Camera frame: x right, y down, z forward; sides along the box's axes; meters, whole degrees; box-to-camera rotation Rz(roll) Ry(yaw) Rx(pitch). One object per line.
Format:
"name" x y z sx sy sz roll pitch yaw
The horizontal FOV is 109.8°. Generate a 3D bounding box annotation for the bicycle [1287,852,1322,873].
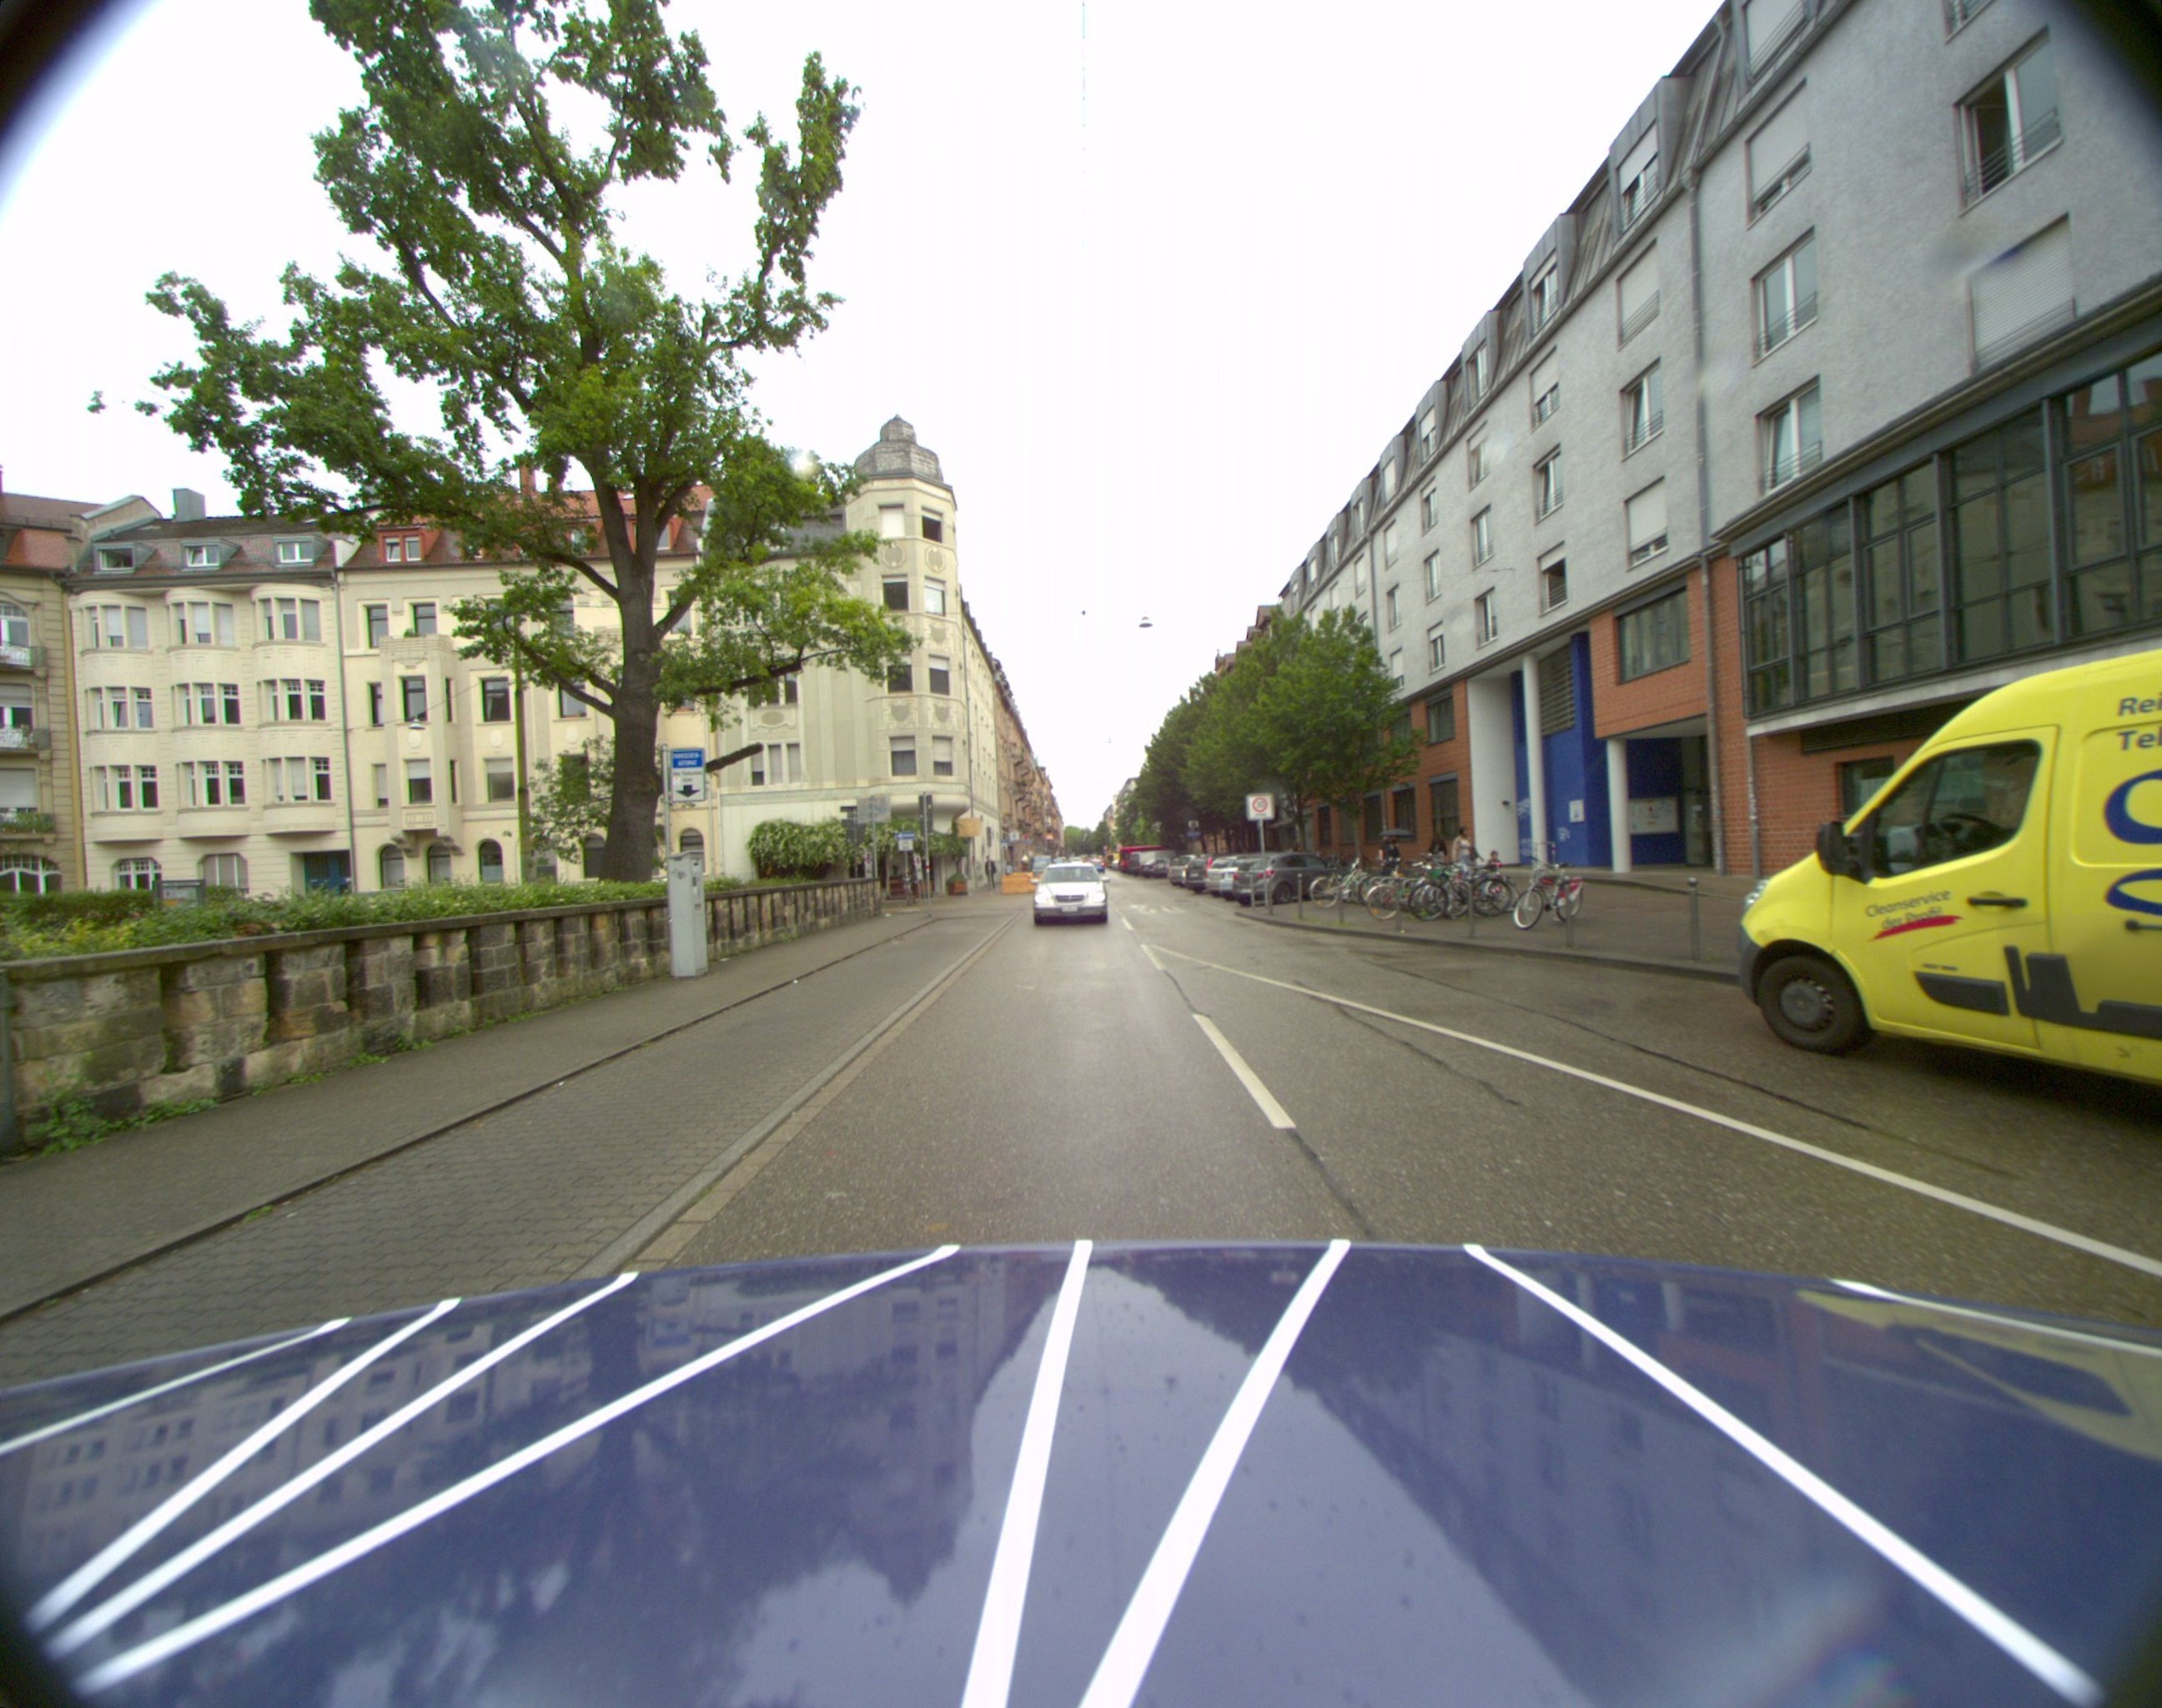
"bicycle" 11.244 0.435 38.250 1.590 0.978 0.465 -2 0 -7

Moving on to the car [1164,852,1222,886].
"car" 5.801 0.777 39.318 2.685 1.546 1.148 -3 0 -28

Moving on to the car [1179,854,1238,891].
"car" 5.714 0.821 34.053 2.506 1.442 1.191 -3 0 -40

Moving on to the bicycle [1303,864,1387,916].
"bicycle" 6.326 0.845 18.226 1.812 1.099 0.472 -4 1 -4

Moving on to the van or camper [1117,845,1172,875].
"van or camper" 5.890 0.553 69.988 4.603 2.597 2.000 -2 0 -26

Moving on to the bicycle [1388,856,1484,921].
"bicycle" 7.415 0.703 15.865 1.815 1.187 0.520 -4 1 -12

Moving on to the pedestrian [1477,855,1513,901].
"pedestrian" 10.087 0.576 18.514 0.485 1.044 0.528 -7 0 0

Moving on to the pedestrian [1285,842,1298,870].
"pedestrian" 12.246 0.106 44.281 0.605 1.601 0.372 -2 0 -1

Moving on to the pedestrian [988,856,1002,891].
"pedestrian" -4.748 1.077 42.042 0.646 1.862 0.693 -2 0 0

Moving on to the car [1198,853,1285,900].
"car" 5.922 0.811 27.932 3.084 1.494 1.449 -3 0 -40

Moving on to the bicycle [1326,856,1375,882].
"bicycle" 10.962 0.617 30.908 1.850 0.978 0.445 -2 0 -7

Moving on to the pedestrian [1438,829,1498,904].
"pedestrian" 9.303 0.299 18.304 0.827 1.697 0.859 -7 0 1

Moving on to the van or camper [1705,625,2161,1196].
"van or camper" 6.007 0.230 2.941 2.201 2.595 5.942 -2 0 -1

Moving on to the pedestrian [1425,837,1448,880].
"pedestrian" 12.722 0.158 27.232 0.516 1.521 0.548 -2 0 -2

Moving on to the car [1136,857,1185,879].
"car" 5.888 0.994 56.273 1.685 1.481 3.799 -2 0 41

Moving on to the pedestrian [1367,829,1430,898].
"pedestrian" 9.297 0.275 22.302 1.228 1.870 1.055 -7 0 0

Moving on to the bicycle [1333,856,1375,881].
"bicycle" 11.470 0.593 31.919 1.590 0.978 0.445 -2 0 -7

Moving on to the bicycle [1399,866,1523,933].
"bicycle" 6.841 0.812 13.734 1.858 1.066 0.609 -4 1 6

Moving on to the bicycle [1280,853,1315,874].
"bicycle" 10.648 0.463 37.362 1.590 0.978 0.465 -2 0 -7

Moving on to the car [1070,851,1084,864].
"car" -0.633 0.582 125.346 1.998 2.002 4.000 -2 0 2

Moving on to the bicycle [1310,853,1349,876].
"bicycle" 11.073 0.474 33.916 1.590 0.978 0.445 -2 0 -7

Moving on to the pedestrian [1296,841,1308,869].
"pedestrian" 12.864 0.032 44.203 0.514 1.601 0.425 -2 0 1

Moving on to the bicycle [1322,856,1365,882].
"bicycle" 10.839 0.617 31.383 1.590 0.978 0.445 -2 0 -7

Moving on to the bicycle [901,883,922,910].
"bicycle" -6.937 1.732 31.177 0.390 0.888 2.023 -2 2 0

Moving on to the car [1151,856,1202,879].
"car" 6.792 0.928 53.745 1.685 1.481 3.799 -2 0 41

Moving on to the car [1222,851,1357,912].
"car" 6.164 0.762 22.392 3.628 1.494 1.736 -3 1 -31

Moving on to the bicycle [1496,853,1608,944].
"bicycle" 7.625 0.671 12.269 1.922 1.209 0.768 -6 3 -34

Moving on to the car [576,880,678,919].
"car" -18.414 1.830 30.887 3.270 1.401 1.448 -2 0 3

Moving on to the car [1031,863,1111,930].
"car" -0.210 1.004 19.392 1.764 1.420 4.000 -2 0 1

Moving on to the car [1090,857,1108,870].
"car" 1.874 0.963 80.392 1.651 1.301 3.311 -2 0 -2

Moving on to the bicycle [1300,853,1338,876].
"bicycle" 10.971 0.468 35.083 1.590 0.978 0.465 -2 0 -7

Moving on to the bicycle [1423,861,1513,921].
"bicycle" 7.620 0.732 15.001 1.461 1.096 0.462 -4 1 15

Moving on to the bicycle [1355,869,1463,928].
"bicycle" 6.272 0.844 14.578 1.800 0.987 0.520 -4 1 -2

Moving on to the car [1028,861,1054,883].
"car" -2.601 1.160 50.048 1.447 1.348 3.204 -2 0 0

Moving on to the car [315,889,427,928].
"car" -29.140 2.225 31.234 3.270 1.401 1.448 -2 0 3

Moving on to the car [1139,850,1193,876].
"car" 6.780 0.697 60.541 4.338 1.884 1.685 -2 0 -40

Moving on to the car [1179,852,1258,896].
"car" 5.599 0.799 30.822 3.084 1.543 1.449 -3 0 -40

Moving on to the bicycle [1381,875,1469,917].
"bicycle" 7.450 0.899 16.456 1.773 0.757 0.456 -4 1 -12

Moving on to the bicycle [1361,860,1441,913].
"bicycle" 7.468 0.756 17.763 1.610 1.099 0.520 -4 1 -4

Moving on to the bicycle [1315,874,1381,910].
"bicycle" 6.777 0.967 19.335 1.473 0.800 0.497 -4 1 3

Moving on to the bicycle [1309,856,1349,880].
"bicycle" 10.857 0.598 33.298 1.590 0.978 0.445 -2 0 -7

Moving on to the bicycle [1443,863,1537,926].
"bicycle" 7.642 0.751 14.228 1.462 1.058 0.418 -4 1 4

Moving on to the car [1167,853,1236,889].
"car" 5.795 0.821 36.561 2.985 1.546 1.370 -3 0 -28

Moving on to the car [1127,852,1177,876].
"car" 5.986 0.843 64.018 4.338 1.822 1.572 -2 0 -40

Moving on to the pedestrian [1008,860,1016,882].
"pedestrian" -4.632 1.165 50.845 0.482 1.452 0.392 -2 0 0

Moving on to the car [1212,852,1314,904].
"car" 6.078 0.791 25.321 3.083 1.494 1.449 -3 0 -31

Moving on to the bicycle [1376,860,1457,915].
"bicycle" 7.552 0.735 17.111 1.611 1.099 0.520 -4 1 -12

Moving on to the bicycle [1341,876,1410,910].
"bicycle" 7.241 0.953 18.702 1.473 0.717 0.497 -4 1 3
